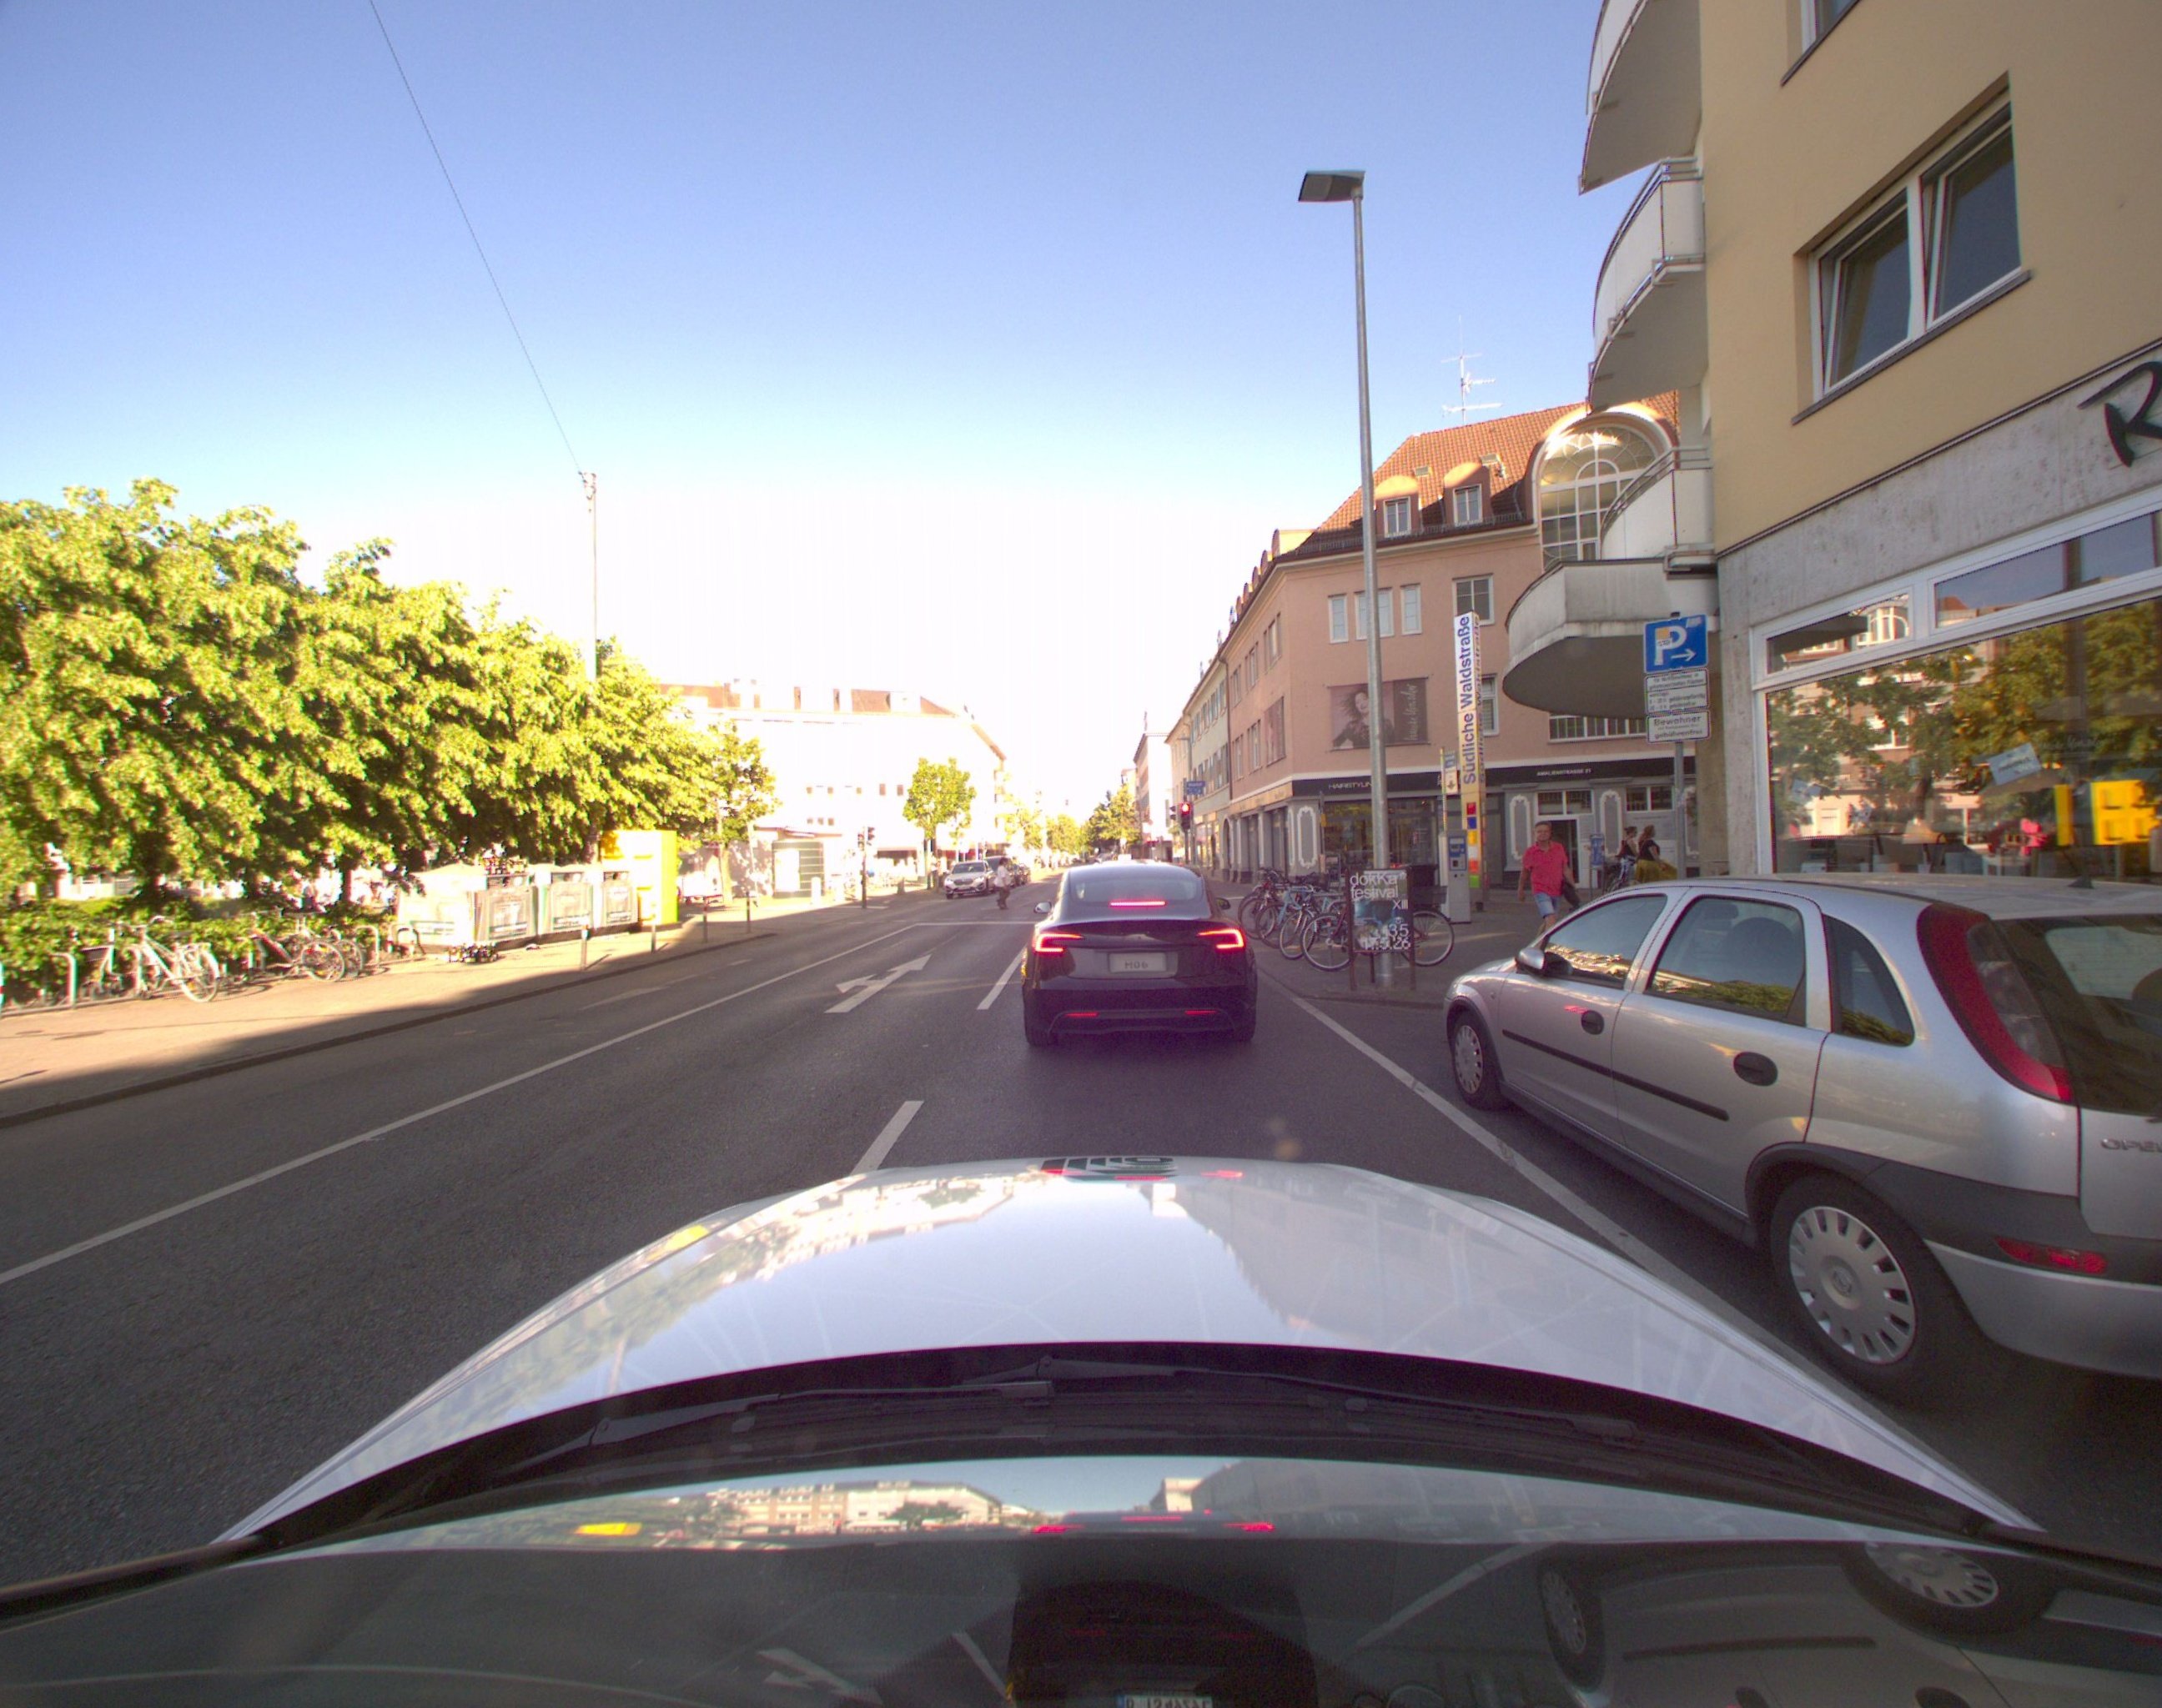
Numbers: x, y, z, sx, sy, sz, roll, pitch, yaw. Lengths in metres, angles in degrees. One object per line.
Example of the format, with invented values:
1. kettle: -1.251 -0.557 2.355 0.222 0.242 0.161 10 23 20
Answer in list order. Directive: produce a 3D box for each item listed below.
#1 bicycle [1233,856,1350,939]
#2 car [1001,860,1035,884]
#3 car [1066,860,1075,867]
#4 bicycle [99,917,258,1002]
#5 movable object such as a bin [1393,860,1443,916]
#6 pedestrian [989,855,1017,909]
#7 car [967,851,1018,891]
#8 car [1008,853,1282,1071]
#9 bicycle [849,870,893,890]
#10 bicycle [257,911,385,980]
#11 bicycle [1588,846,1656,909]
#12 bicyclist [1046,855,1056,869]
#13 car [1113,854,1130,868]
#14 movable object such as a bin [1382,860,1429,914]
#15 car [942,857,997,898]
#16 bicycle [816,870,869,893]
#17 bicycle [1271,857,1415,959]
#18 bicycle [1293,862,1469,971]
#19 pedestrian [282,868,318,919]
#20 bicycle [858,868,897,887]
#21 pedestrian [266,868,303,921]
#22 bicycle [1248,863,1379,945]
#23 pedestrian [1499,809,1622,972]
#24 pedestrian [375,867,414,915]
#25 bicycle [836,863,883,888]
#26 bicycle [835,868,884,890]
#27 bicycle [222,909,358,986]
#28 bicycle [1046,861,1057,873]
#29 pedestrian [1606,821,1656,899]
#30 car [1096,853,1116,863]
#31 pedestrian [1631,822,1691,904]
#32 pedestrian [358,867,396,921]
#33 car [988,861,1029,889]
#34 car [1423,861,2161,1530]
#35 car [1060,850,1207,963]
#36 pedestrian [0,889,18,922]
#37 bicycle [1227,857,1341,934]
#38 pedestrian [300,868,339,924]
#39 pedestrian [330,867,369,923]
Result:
1. bicycle: 3.510 0.711 13.682 1.738 1.267 0.782 -3 -1 4
2. car: -4.390 1.257 57.273 1.988 1.436 4.672 -5 0 -1
3. car: -2.484 2.160 187.366 1.988 1.637 3.998 -1 0 -1
4. bicycle: -11.451 1.330 10.346 1.590 1.018 0.430 -1 0 3
5. movable object such as a bin: 6.746 0.672 16.339 0.749 1.092 0.628 0 -1 3
6. pedestrian: -2.299 0.824 23.977 0.747 1.552 0.697 -1 0 -10
7. car: -4.572 0.861 42.855 1.827 1.845 4.677 -5 0 2
8. car: 0.502 0.758 7.601 1.841 1.455 4.001 -2 0 2
9. bicycle: -12.946 1.572 50.251 2.528 1.156 0.841 -1 0 -4
10. bicycle: -11.355 1.367 12.185 1.517 0.958 0.431 -1 1 3
11. bicycle: 11.052 0.459 16.722 0.653 1.199 2.223 -2 0 21
12. bicyclist: -3.502 0.926 95.880 1.123 1.628 0.965 -1 0 -1
13. car: 5.035 0.858 100.800 1.986 1.629 4.002 -2 0 2
14. movable object such as a bin: 6.755 0.677 16.976 0.730 1.092 0.628 0 -1 3
15. car: -4.941 0.992 36.648 1.802 1.555 4.308 -5 0 -1
16. bicycle: -12.579 1.439 43.016 2.497 1.156 0.843 -1 0 0
17. bicycle: 3.545 0.726 11.149 1.713 1.268 0.792 -3 -1 7
18. bicycle: 3.641 0.752 10.013 1.876 1.193 0.693 -3 0 7
19. pedestrian: -31.528 1.584 32.869 0.980 2.013 0.910 -2 -1 38
20. bicycle: -13.163 1.517 52.686 2.318 1.156 0.841 -1 0 -4
21. pedestrian: -31.173 1.582 31.876 0.980 2.013 0.910 -2 -1 38
22. bicycle: 3.525 0.754 12.501 1.788 1.124 0.783 -3 -1 7
23. pedestrian: 5.627 0.412 9.635 0.859 1.784 1.011 -4 -1 10
24. pedestrian: -29.361 1.562 34.841 1.205 2.013 0.910 -1 0 30
25. bicycle: -12.903 1.246 47.492 2.472 1.324 0.921 -1 0 -4
26. bicycle: -12.373 1.367 45.546 2.453 1.156 0.843 -1 0 0
27. bicycle: -11.315 1.334 11.665 1.561 1.023 0.430 -1 0 3
28. bicycle: -3.476 1.542 95.784 1.108 1.344 3.998 -1 0 -1
29. pedestrian: 12.417 0.137 18.409 0.771 1.683 0.832 -4 -3 29
30. car: 5.122 0.847 167.670 3.974 2.013 2.000 -1 0 0
31. pedestrian: 12.579 0.189 17.681 0.706 1.713 0.736 -1 0 -9
32. pedestrian: -26.770 1.504 30.970 0.980 2.013 0.910 -2 -1 38
33. car: -4.359 1.233 49.676 1.988 1.410 4.672 -5 0 -1
34. car: 2.973 0.732 3.519 1.607 1.382 3.645 0 0 2
35. car: 0.743 0.724 13.309 1.987 1.512 4.175 -1 0 0
36. pedestrian: -67.782 3.229 51.241 1.385 2.013 0.910 -2 0 44
37. bicycle: 3.625 0.740 14.710 1.851 1.258 0.834 -3 -1 7
38. pedestrian: -28.342 1.548 30.321 0.980 2.013 0.910 -2 -1 38
39. pedestrian: -27.230 1.504 30.317 0.980 2.013 0.910 -2 -1 38
